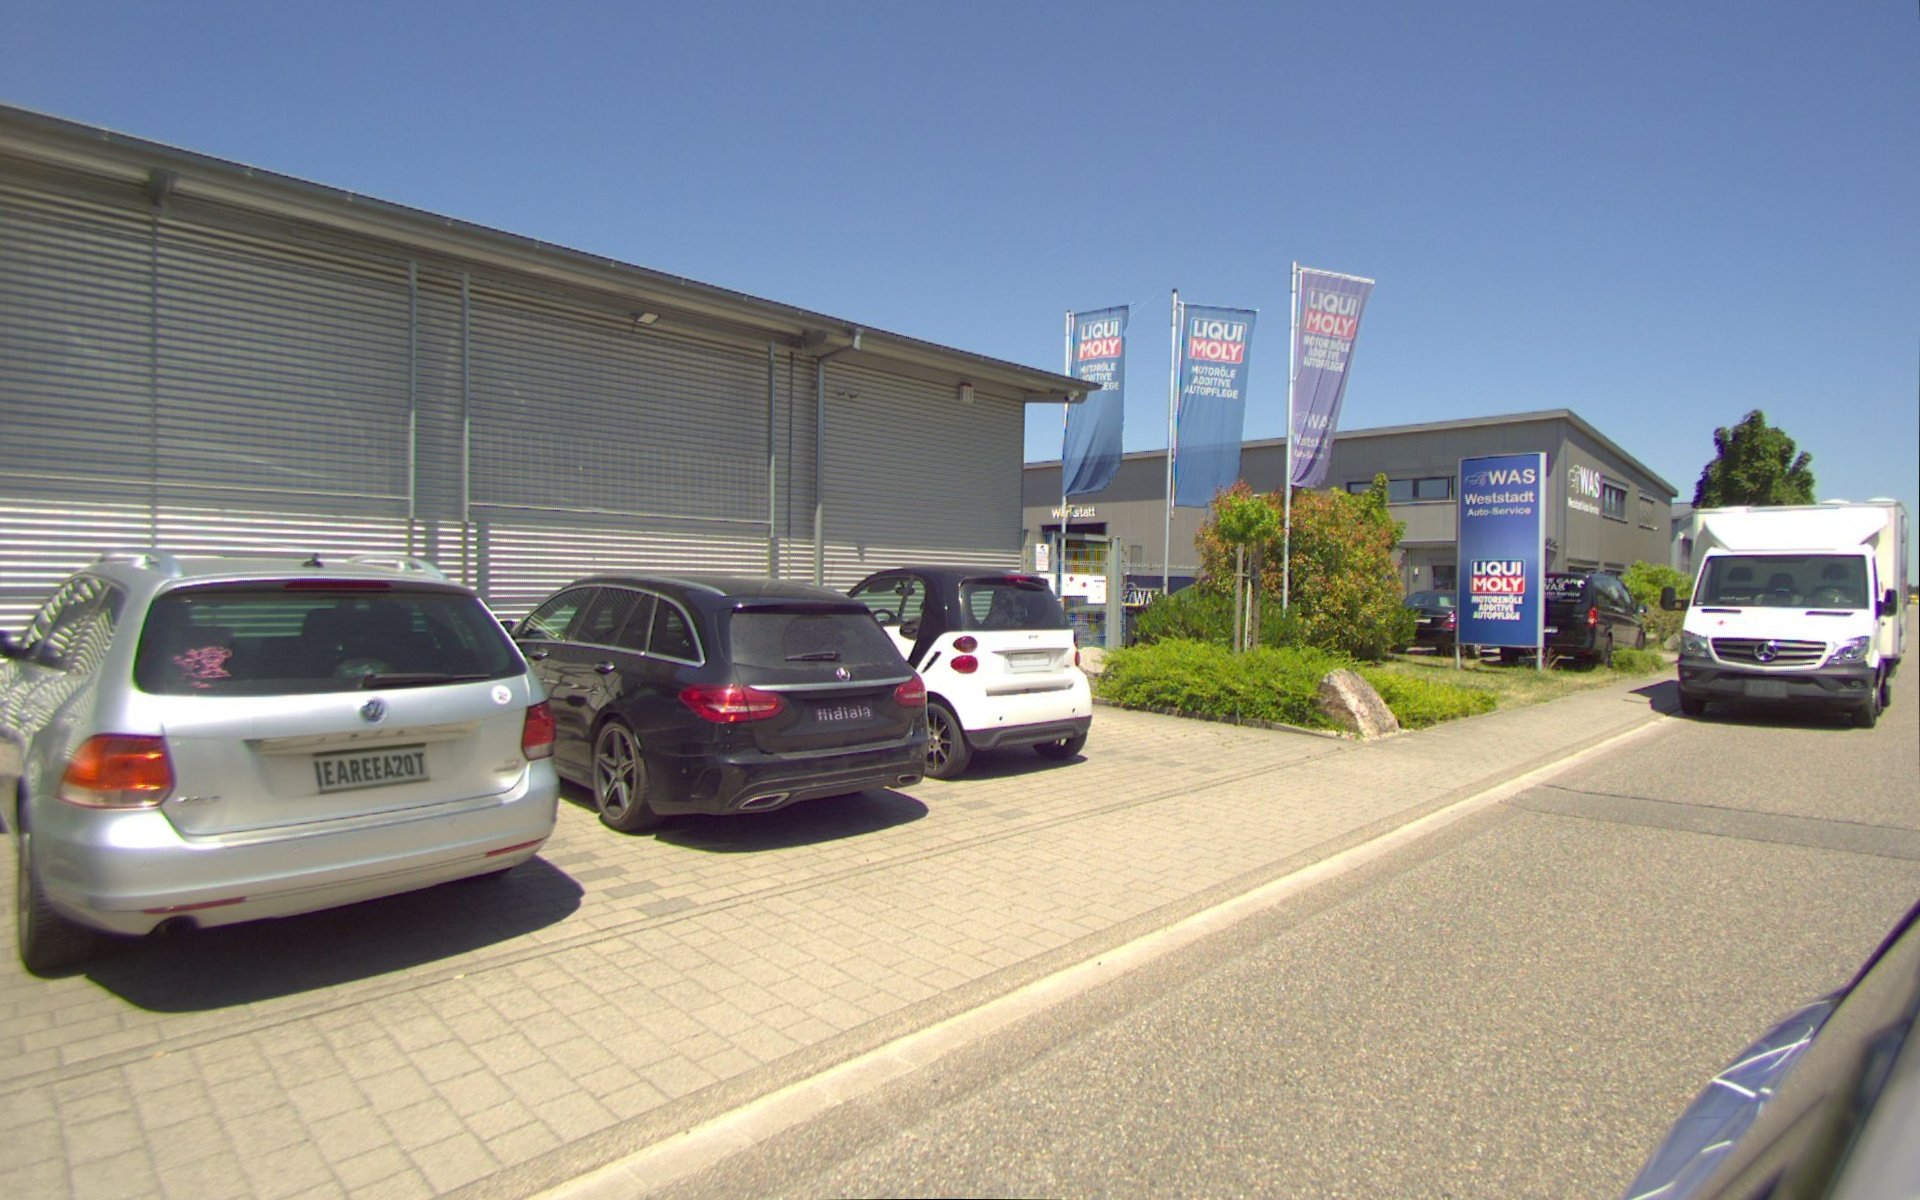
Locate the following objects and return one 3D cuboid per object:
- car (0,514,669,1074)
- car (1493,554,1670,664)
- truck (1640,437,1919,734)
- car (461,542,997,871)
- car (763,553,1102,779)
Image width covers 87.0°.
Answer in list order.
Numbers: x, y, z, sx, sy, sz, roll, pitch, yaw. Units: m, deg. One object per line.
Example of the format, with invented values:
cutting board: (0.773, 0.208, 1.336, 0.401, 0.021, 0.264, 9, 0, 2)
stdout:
car: (-3.433, 0.454, 4.959, 4.278, 1.560, 1.884, 3, 2, 42)
car: (13.168, 0.129, 21.279, 1.995, 2.039, 5.250, 2, 1, 45)
truck: (11.929, -0.200, 14.313, 6.769, 3.245, 2.459, 0, 1, -44)
car: (-1.734, 0.431, 6.795, 1.881, 1.560, 3.696, 0, 2, -44)
car: (-0.316, 0.414, 8.531, 1.389, 1.560, 2.709, 0, 2, -44)
